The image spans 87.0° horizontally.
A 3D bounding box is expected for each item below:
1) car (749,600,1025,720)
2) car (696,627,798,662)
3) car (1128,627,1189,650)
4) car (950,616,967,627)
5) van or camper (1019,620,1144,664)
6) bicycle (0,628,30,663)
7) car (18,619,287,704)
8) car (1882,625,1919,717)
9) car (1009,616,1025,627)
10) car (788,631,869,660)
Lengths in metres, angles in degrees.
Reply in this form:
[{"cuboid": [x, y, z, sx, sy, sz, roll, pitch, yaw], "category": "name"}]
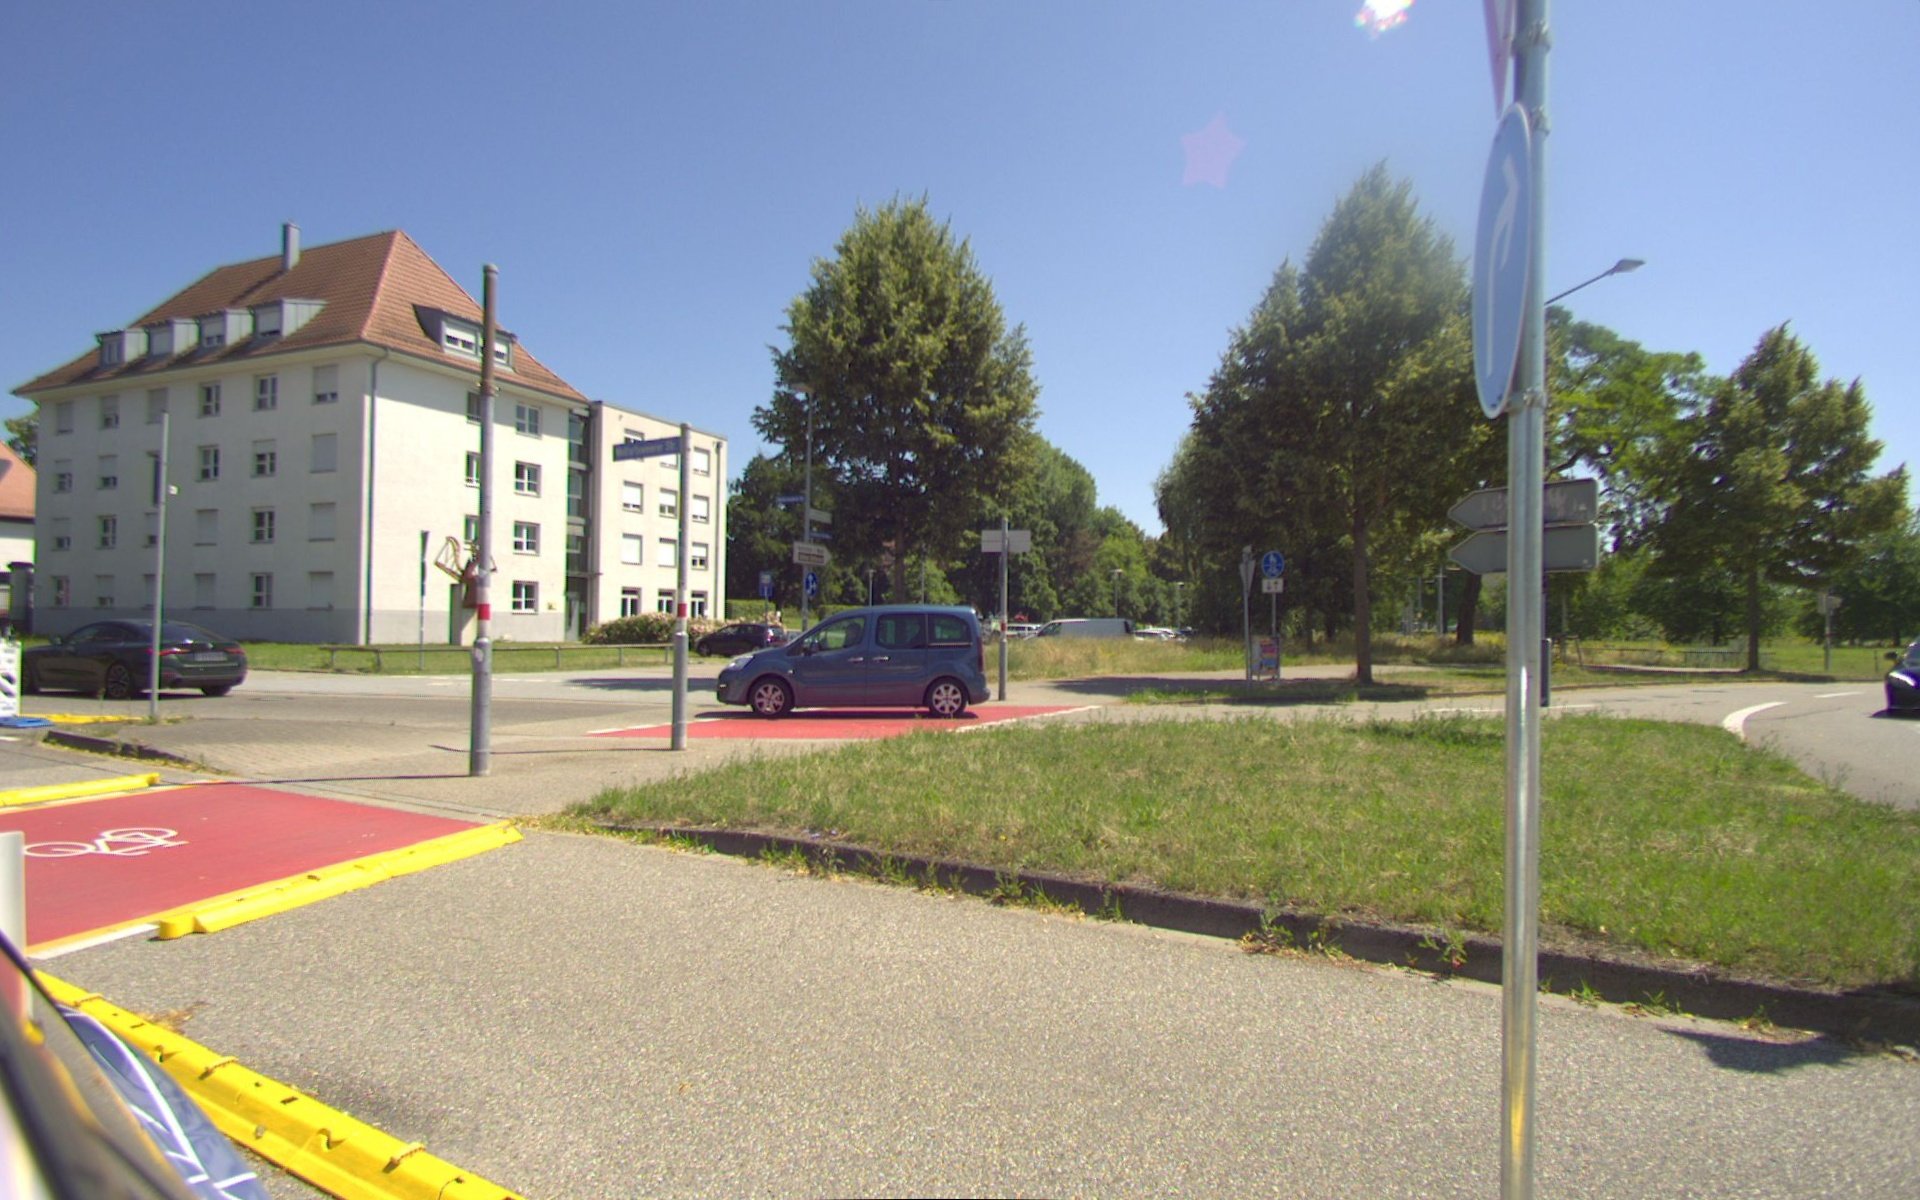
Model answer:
[{"cuboid": [-1.151, 0.949, 16.079, 4.140, 1.783, 1.691, 0, -3, -5], "category": "car"}, {"cuboid": [-8.562, 1.768, 40.679, 3.785, 1.337, 1.646, 0, -2, 25], "category": "car"}, {"cuboid": [11.908, 2.288, 60.826, 3.371, 1.291, 1.342, 0, -2, 32], "category": "car"}, {"cuboid": [-0.242, 2.928, 138.550, 1.467, 1.427, 3.008, 0, -1, 19], "category": "car"}, {"cuboid": [5.415, 1.834, 45.223, 5.239, 1.871, 1.984, 0, -2, 24], "category": "van or camper"}, {"cuboid": [-30.202, 1.422, 31.921, 1.977, 1.032, 0.703, 0, 1, 30], "category": "bicycle"}, {"cuboid": [-14.910, 1.073, 18.696, 4.582, 1.423, 1.712, 0, -2, 19], "category": "car"}, {"cuboid": [17.303, 1.134, 16.761, 4.872, 1.447, 1.863, 1, -2, -34], "category": "car"}, {"cuboid": [7.686, 2.927, 135.930, 1.467, 1.427, 3.008, 0, -1, 19], "category": "car"}, {"cuboid": [-6.016, 2.056, 46.221, 3.493, 1.227, 1.345, 0, -2, 25], "category": "car"}]
